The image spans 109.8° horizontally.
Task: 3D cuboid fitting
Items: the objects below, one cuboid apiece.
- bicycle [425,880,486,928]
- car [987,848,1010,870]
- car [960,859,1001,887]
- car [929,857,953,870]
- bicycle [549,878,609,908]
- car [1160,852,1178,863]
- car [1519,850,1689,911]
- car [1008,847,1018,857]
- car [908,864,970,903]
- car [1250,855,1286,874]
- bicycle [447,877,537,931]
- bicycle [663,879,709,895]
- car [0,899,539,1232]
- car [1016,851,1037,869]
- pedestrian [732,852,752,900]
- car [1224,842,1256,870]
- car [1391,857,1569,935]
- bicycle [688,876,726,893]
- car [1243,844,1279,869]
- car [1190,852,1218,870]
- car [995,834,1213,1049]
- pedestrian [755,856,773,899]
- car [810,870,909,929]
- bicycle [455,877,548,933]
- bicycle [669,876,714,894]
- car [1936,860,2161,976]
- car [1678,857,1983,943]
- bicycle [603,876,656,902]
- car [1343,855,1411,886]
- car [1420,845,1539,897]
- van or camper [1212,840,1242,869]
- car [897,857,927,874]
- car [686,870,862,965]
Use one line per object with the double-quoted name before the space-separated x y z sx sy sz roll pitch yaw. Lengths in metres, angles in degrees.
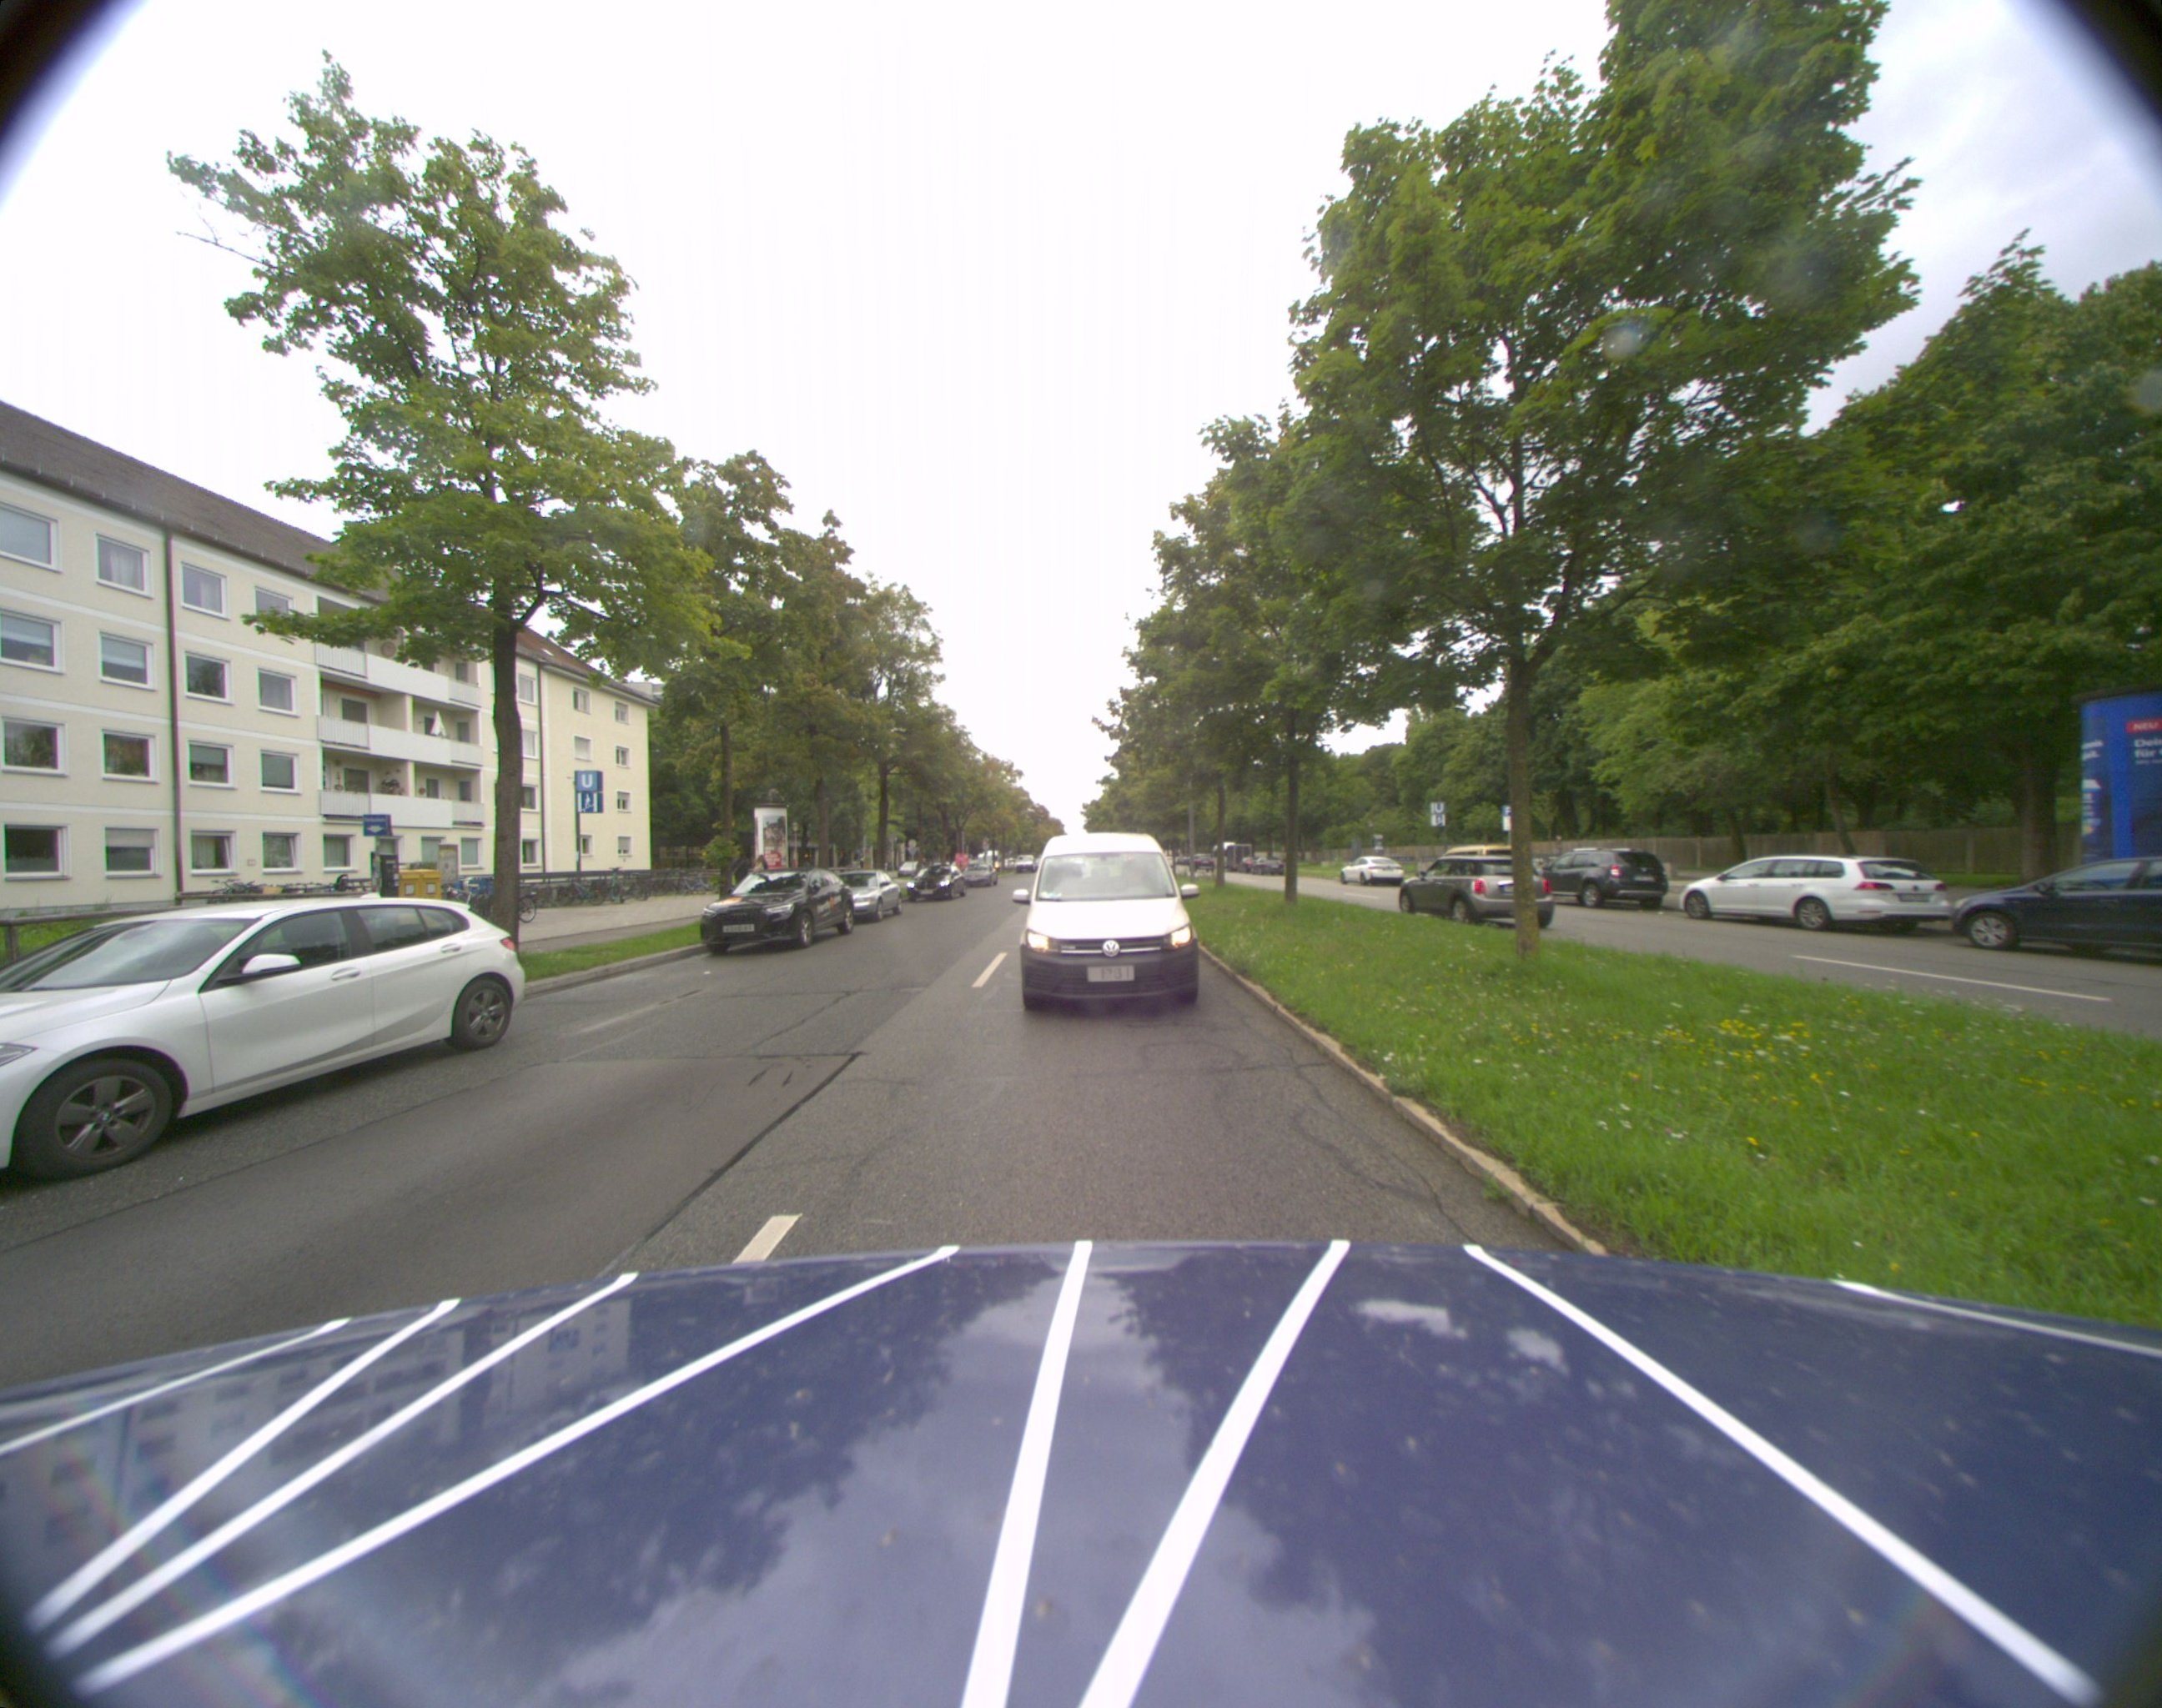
"bicycle" -15.779 1.237 19.203 0.466 1.110 1.253 -2 0 1
"car" -9.525 0.545 87.886 1.998 2.440 4.999 -2 1 1
"car" -5.959 1.092 45.570 1.827 1.460 4.300 -2 0 1
"car" -15.950 1.050 86.621 1.827 1.460 4.300 -1 0 1
"bicycle" -16.556 1.283 25.086 1.599 0.910 0.498 -2 1 -4
"car" 11.424 0.437 98.859 1.866 1.447 4.500 1 0 0
"car" 14.795 0.681 21.819 2.007 1.607 4.040 0 0 -2
"car" -16.273 -0.462 182.432 1.999 2.440 4.999 -2 0 -1
"car" -5.848 1.171 31.795 1.827 1.371 4.300 -2 0 -1
"car" 14.620 0.782 59.564 1.717 1.401 4.040 0 0 -2
"bicycle" -14.559 1.196 18.853 0.545 1.182 2.076 -2 0 1
"bicycle" -16.245 1.355 31.245 1.599 0.634 0.498 1 0 -4
"car" -6.335 1.221 5.362 1.826 1.428 4.287 -3 0 0
"car" -5.970 0.635 83.553 1.827 1.939 4.300 -2 0 1
"pedestrian" -12.610 0.822 28.274 0.560 1.745 0.656 -2 1 -19
"car" 15.028 0.159 72.092 1.999 2.576 4.499 0 0 -2
"car" 8.088 0.776 15.827 1.722 1.374 3.767 1 0 0
"bicycle" -16.089 1.316 32.678 1.392 0.709 0.498 1 0 -4
"car" 15.153 0.180 64.148 1.998 2.002 4.000 -2 0 0
"car" 11.424 0.619 70.866 1.866 1.659 4.500 1 0 0
"car" 0.204 0.742 8.793 1.772 1.742 4.545 -3 0 0
"pedestrian" -11.872 0.874 28.472 0.560 1.595 0.519 -2 1 -19
"car" -6.082 1.200 21.290 1.617 1.371 3.926 -2 0 -1
"bicycle" -13.657 1.170 17.990 0.545 1.182 2.076 -2 0 1
"bicycle" -16.452 1.320 32.082 1.599 0.691 0.498 -2 1 -4
"car" 14.563 0.843 10.197 1.826 1.438 3.787 1 0 -2
"car" 14.691 0.810 15.331 1.826 1.461 4.300 0 0 -2
"bicycle" -16.457 1.257 27.699 1.599 0.910 0.498 0 1 -4
"car" 14.807 0.794 38.191 1.717 1.434 4.040 0 0 -2
"car" 14.484 0.570 27.960 1.862 1.761 4.533 0 0 -2
"van or camper" 14.731 0.057 76.910 1.999 2.791 4.931 0 0 -2
"car" -16.060 1.044 72.499 1.827 1.460 4.300 -2 0 1
"car" -5.979 1.153 15.414 1.826 1.502 4.157 -2 0 0
